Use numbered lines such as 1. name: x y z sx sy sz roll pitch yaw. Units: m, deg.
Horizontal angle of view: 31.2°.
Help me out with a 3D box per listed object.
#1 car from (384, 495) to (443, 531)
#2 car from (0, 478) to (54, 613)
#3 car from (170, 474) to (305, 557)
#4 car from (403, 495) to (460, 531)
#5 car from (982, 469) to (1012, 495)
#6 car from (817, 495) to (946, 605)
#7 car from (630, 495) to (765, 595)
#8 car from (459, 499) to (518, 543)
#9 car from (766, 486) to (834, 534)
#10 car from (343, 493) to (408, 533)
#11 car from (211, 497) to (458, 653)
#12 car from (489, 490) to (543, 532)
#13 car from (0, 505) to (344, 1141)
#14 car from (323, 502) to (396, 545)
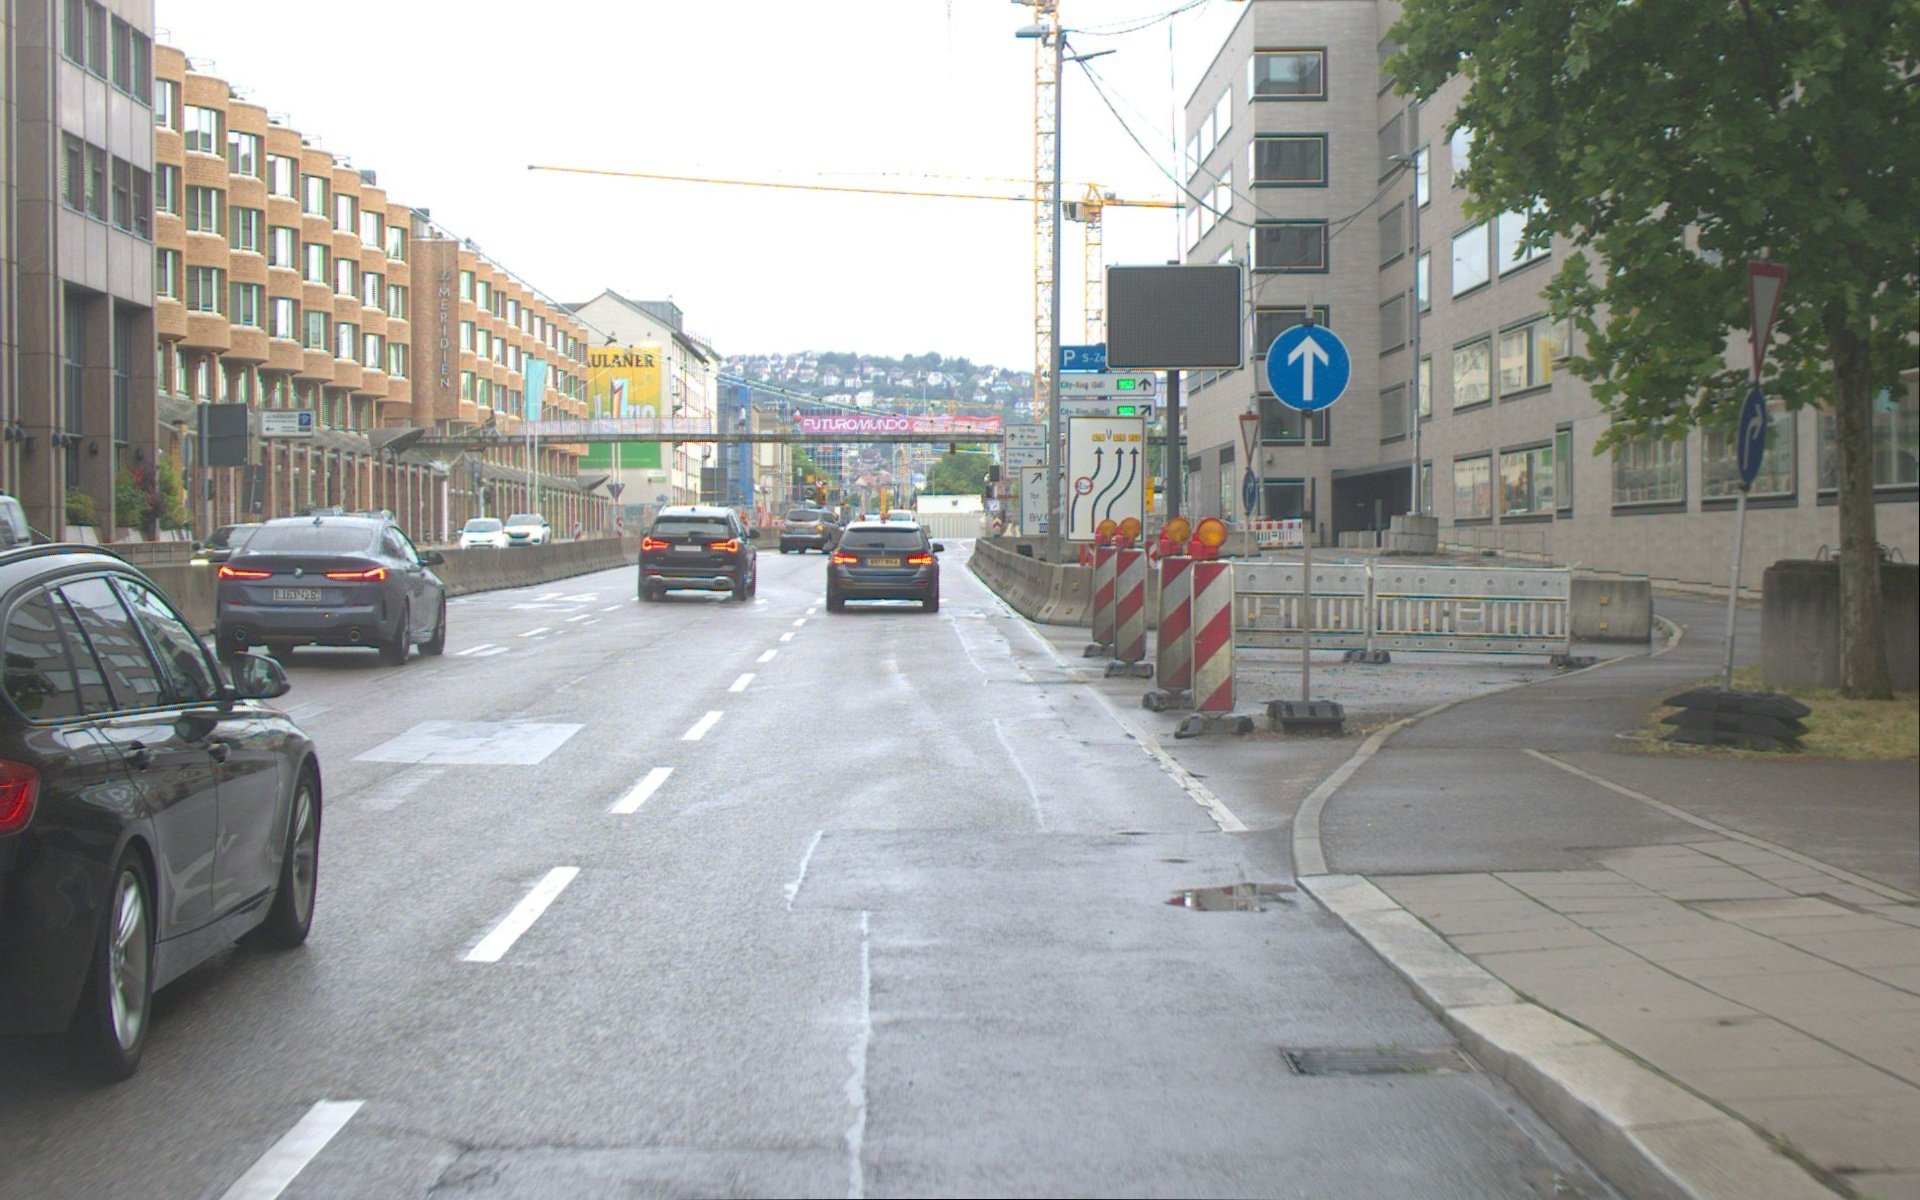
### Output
1. car: -24.991 -3.984 157.363 1.993 1.614 4.318 -1 1 0
2. car: -13.407 -0.706 45.382 1.721 1.764 4.426 -1 1 -1
3. car: -14.092 -1.659 67.235 1.860 1.528 4.231 -1 1 -2
4. car: -24.971 -4.124 162.632 1.993 1.614 4.691 -1 1 0
5. car: 2.537 -8.095 236.015 1.900 1.687 4.000 -1 1 2
6. car: -1.240 -0.830 55.793 1.900 1.687 4.000 -1 1 1
7. car: -4.606 -0.997 60.802 1.900 1.687 4.000 -1 1 2
8. car: -16.772 -2.827 122.381 1.602 1.437 3.658 -1 3 -1
9. car: -5.786 -3.256 124.487 1.900 1.687 4.000 -1 1 5
10. car: -24.742 -3.680 145.617 1.993 1.614 4.318 -1 1 0
11. car: -6.135 -0.288 34.164 1.790 1.421 4.385 -1 1 -2
12. car: -18.539 -3.740 143.778 1.820 1.613 4.192 -1 3 -2
13. car: -3.037 0.454 10.191 1.791 1.421 4.614 0 2 -3
14. car: -23.325 -2.971 133.754 1.993 1.614 4.763 -1 1 0
